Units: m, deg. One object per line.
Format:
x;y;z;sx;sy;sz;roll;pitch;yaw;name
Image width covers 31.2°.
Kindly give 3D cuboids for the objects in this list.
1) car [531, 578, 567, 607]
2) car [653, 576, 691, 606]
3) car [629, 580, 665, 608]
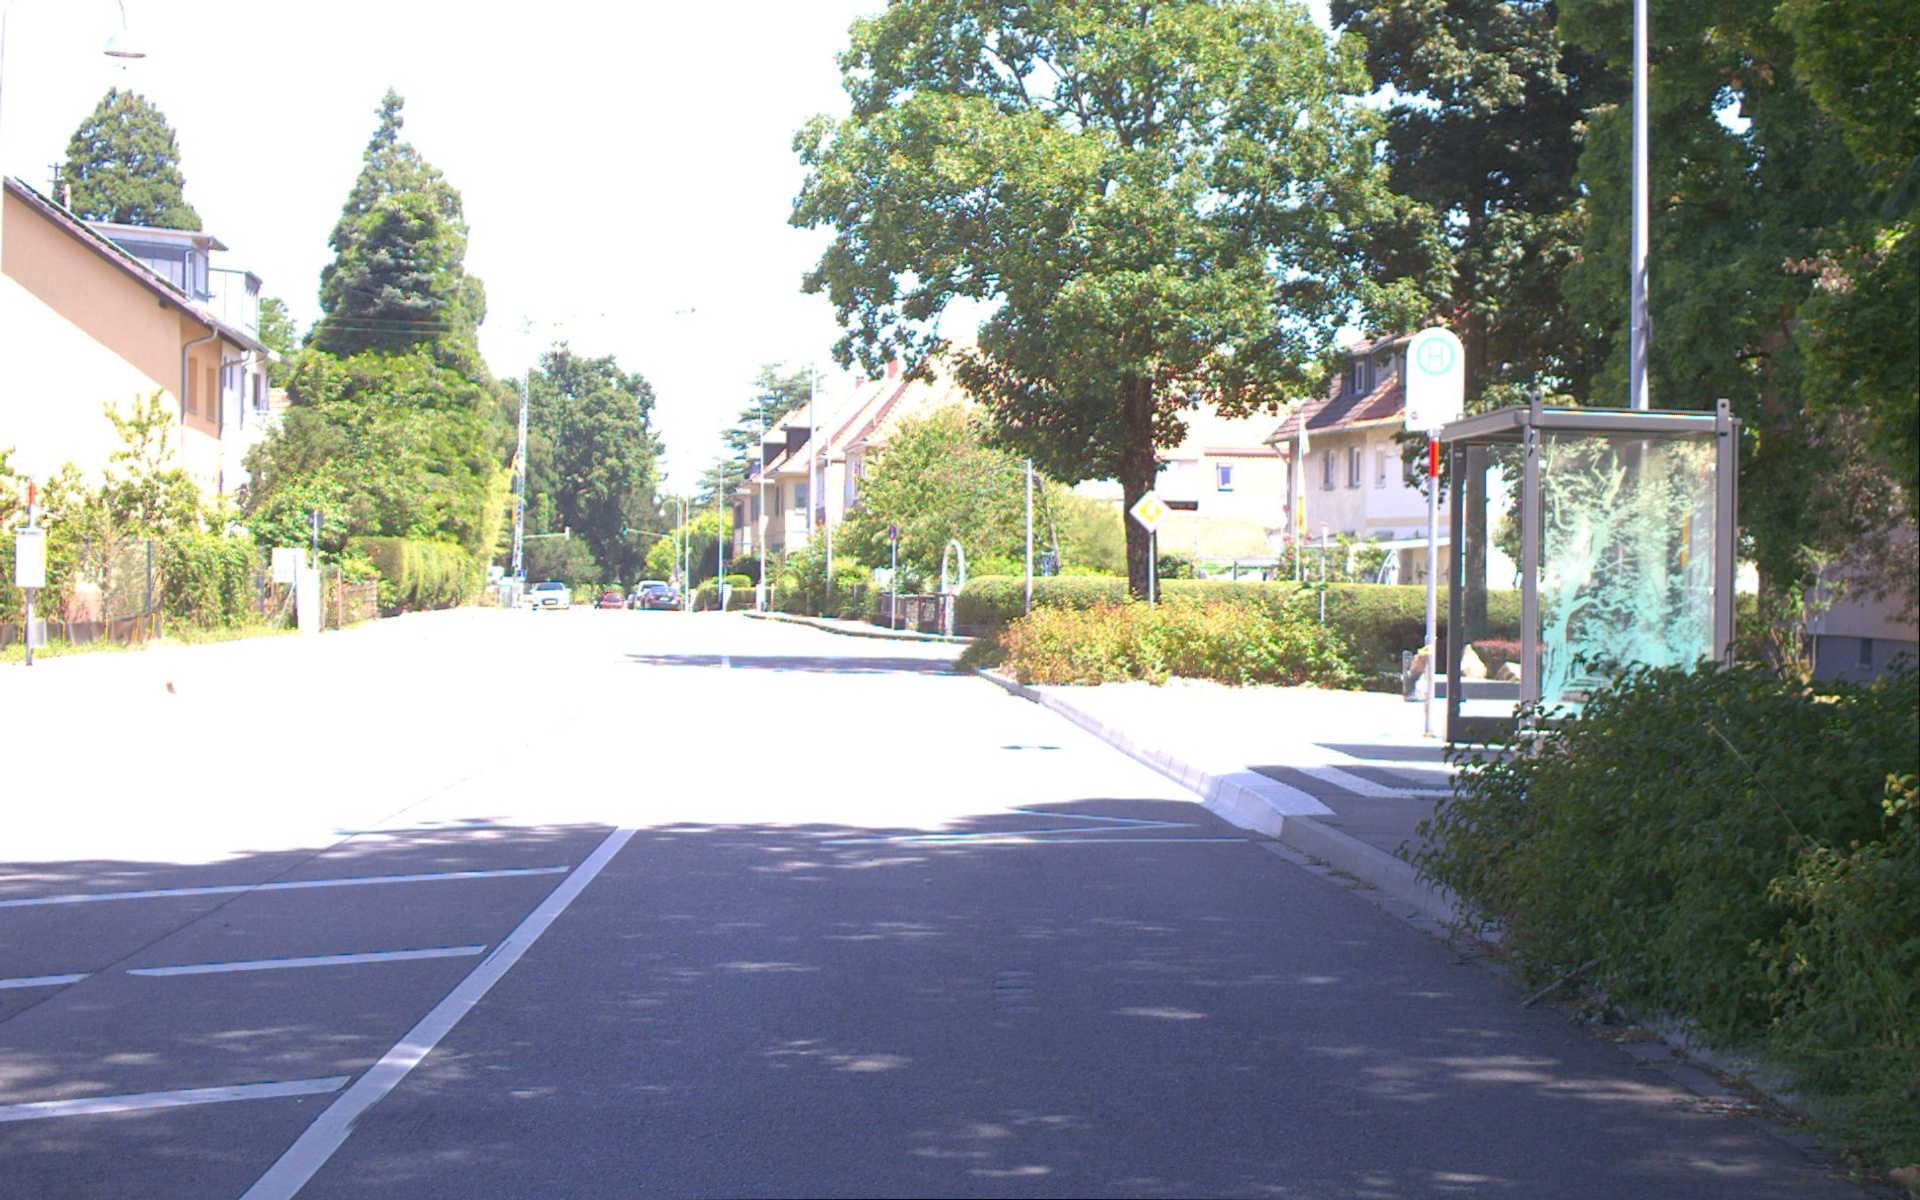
-19.992;-0.382;167.339;1.680;1.368;4.207;-1;1;-6;car
-14.749;-0.465;175.832;1.692;1.414;4.551;1;-1;-8;car
-16.856;-0.300;184.945;1.692;1.414;4.551;1;-1;-8;car
